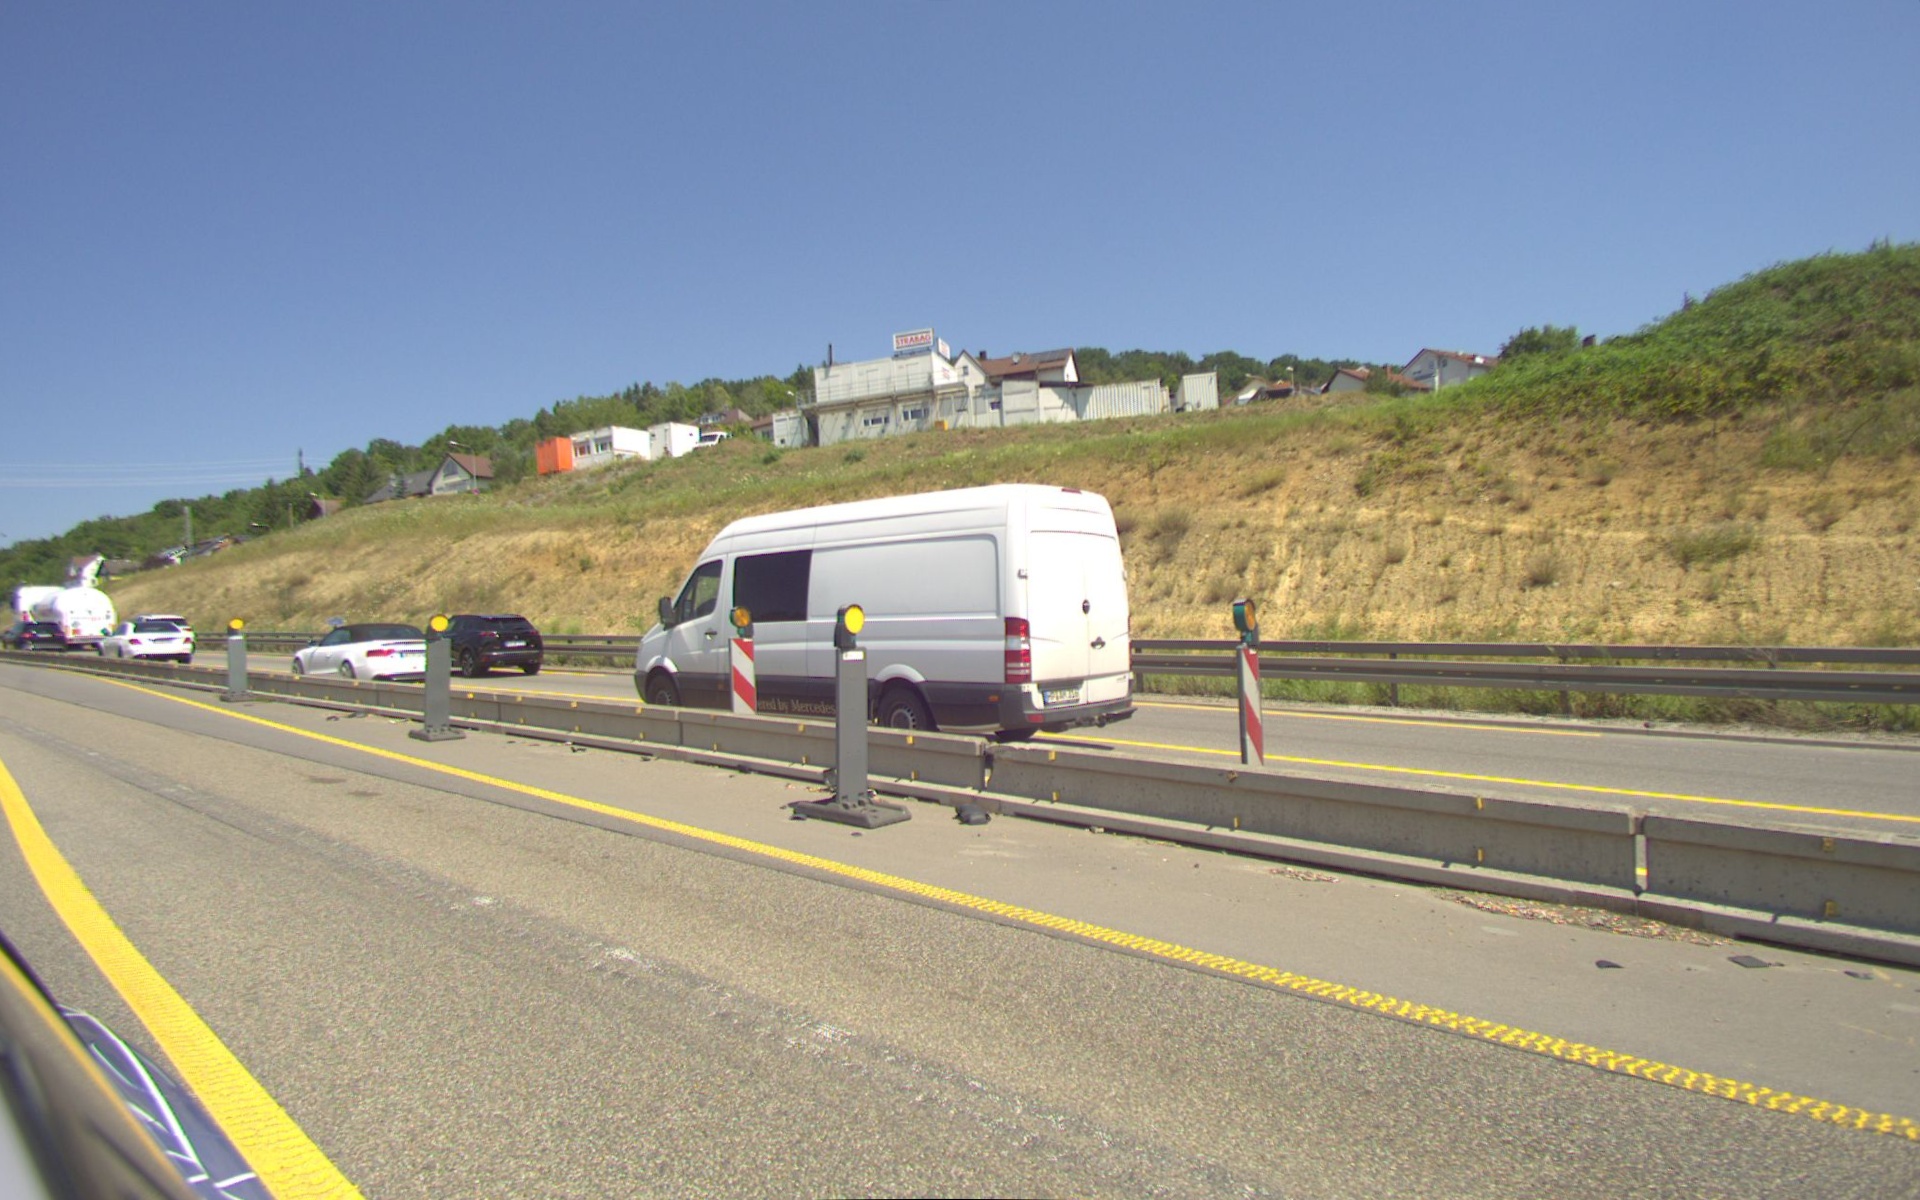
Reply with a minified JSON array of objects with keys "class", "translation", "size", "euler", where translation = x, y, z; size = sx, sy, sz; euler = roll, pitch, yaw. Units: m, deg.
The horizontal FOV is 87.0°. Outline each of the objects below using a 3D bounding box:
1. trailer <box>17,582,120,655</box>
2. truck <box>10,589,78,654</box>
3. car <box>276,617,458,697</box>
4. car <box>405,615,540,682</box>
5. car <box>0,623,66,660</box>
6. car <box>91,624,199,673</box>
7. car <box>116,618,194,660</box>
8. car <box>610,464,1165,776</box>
[{"class":"trailer","translation":[-51.051,1.106,57.797],"size":[11.906,3.830,2.564],"euler":[-2,-1,40]},{"class":"truck","translation":[-56.010,1.299,61.883],"size":[3.763,3.830,2.564],"euler":[-2,-1,39]},{"class":"car","translation":[-12.488,1.139,21.201],"size":[4.632,1.458,1.783],"euler":[-2,-1,39]},{"class":"car","translation":[-12.390,1.195,25.620],"size":[3.998,1.543,1.676],"euler":[-2,-1,42]},{"class":"car","translation":[-43.584,1.932,47.515],"size":[4.730,1.624,1.772],"euler":[-2,-1,40]},{"class":"car","translation":[-27.503,1.619,34.088],"size":[4.937,1.475,1.941],"euler":[-2,-1,40]},{"class":"car","translation":[-35.954,1.748,45.169],"size":[4.532,1.776,1.773],"euler":[-2,-2,39]},{"class":"car","translation":[-1.271,0.247,11.611],"size":[7.007,2.626,1.973],"euler":[-2,-1,42]}]
